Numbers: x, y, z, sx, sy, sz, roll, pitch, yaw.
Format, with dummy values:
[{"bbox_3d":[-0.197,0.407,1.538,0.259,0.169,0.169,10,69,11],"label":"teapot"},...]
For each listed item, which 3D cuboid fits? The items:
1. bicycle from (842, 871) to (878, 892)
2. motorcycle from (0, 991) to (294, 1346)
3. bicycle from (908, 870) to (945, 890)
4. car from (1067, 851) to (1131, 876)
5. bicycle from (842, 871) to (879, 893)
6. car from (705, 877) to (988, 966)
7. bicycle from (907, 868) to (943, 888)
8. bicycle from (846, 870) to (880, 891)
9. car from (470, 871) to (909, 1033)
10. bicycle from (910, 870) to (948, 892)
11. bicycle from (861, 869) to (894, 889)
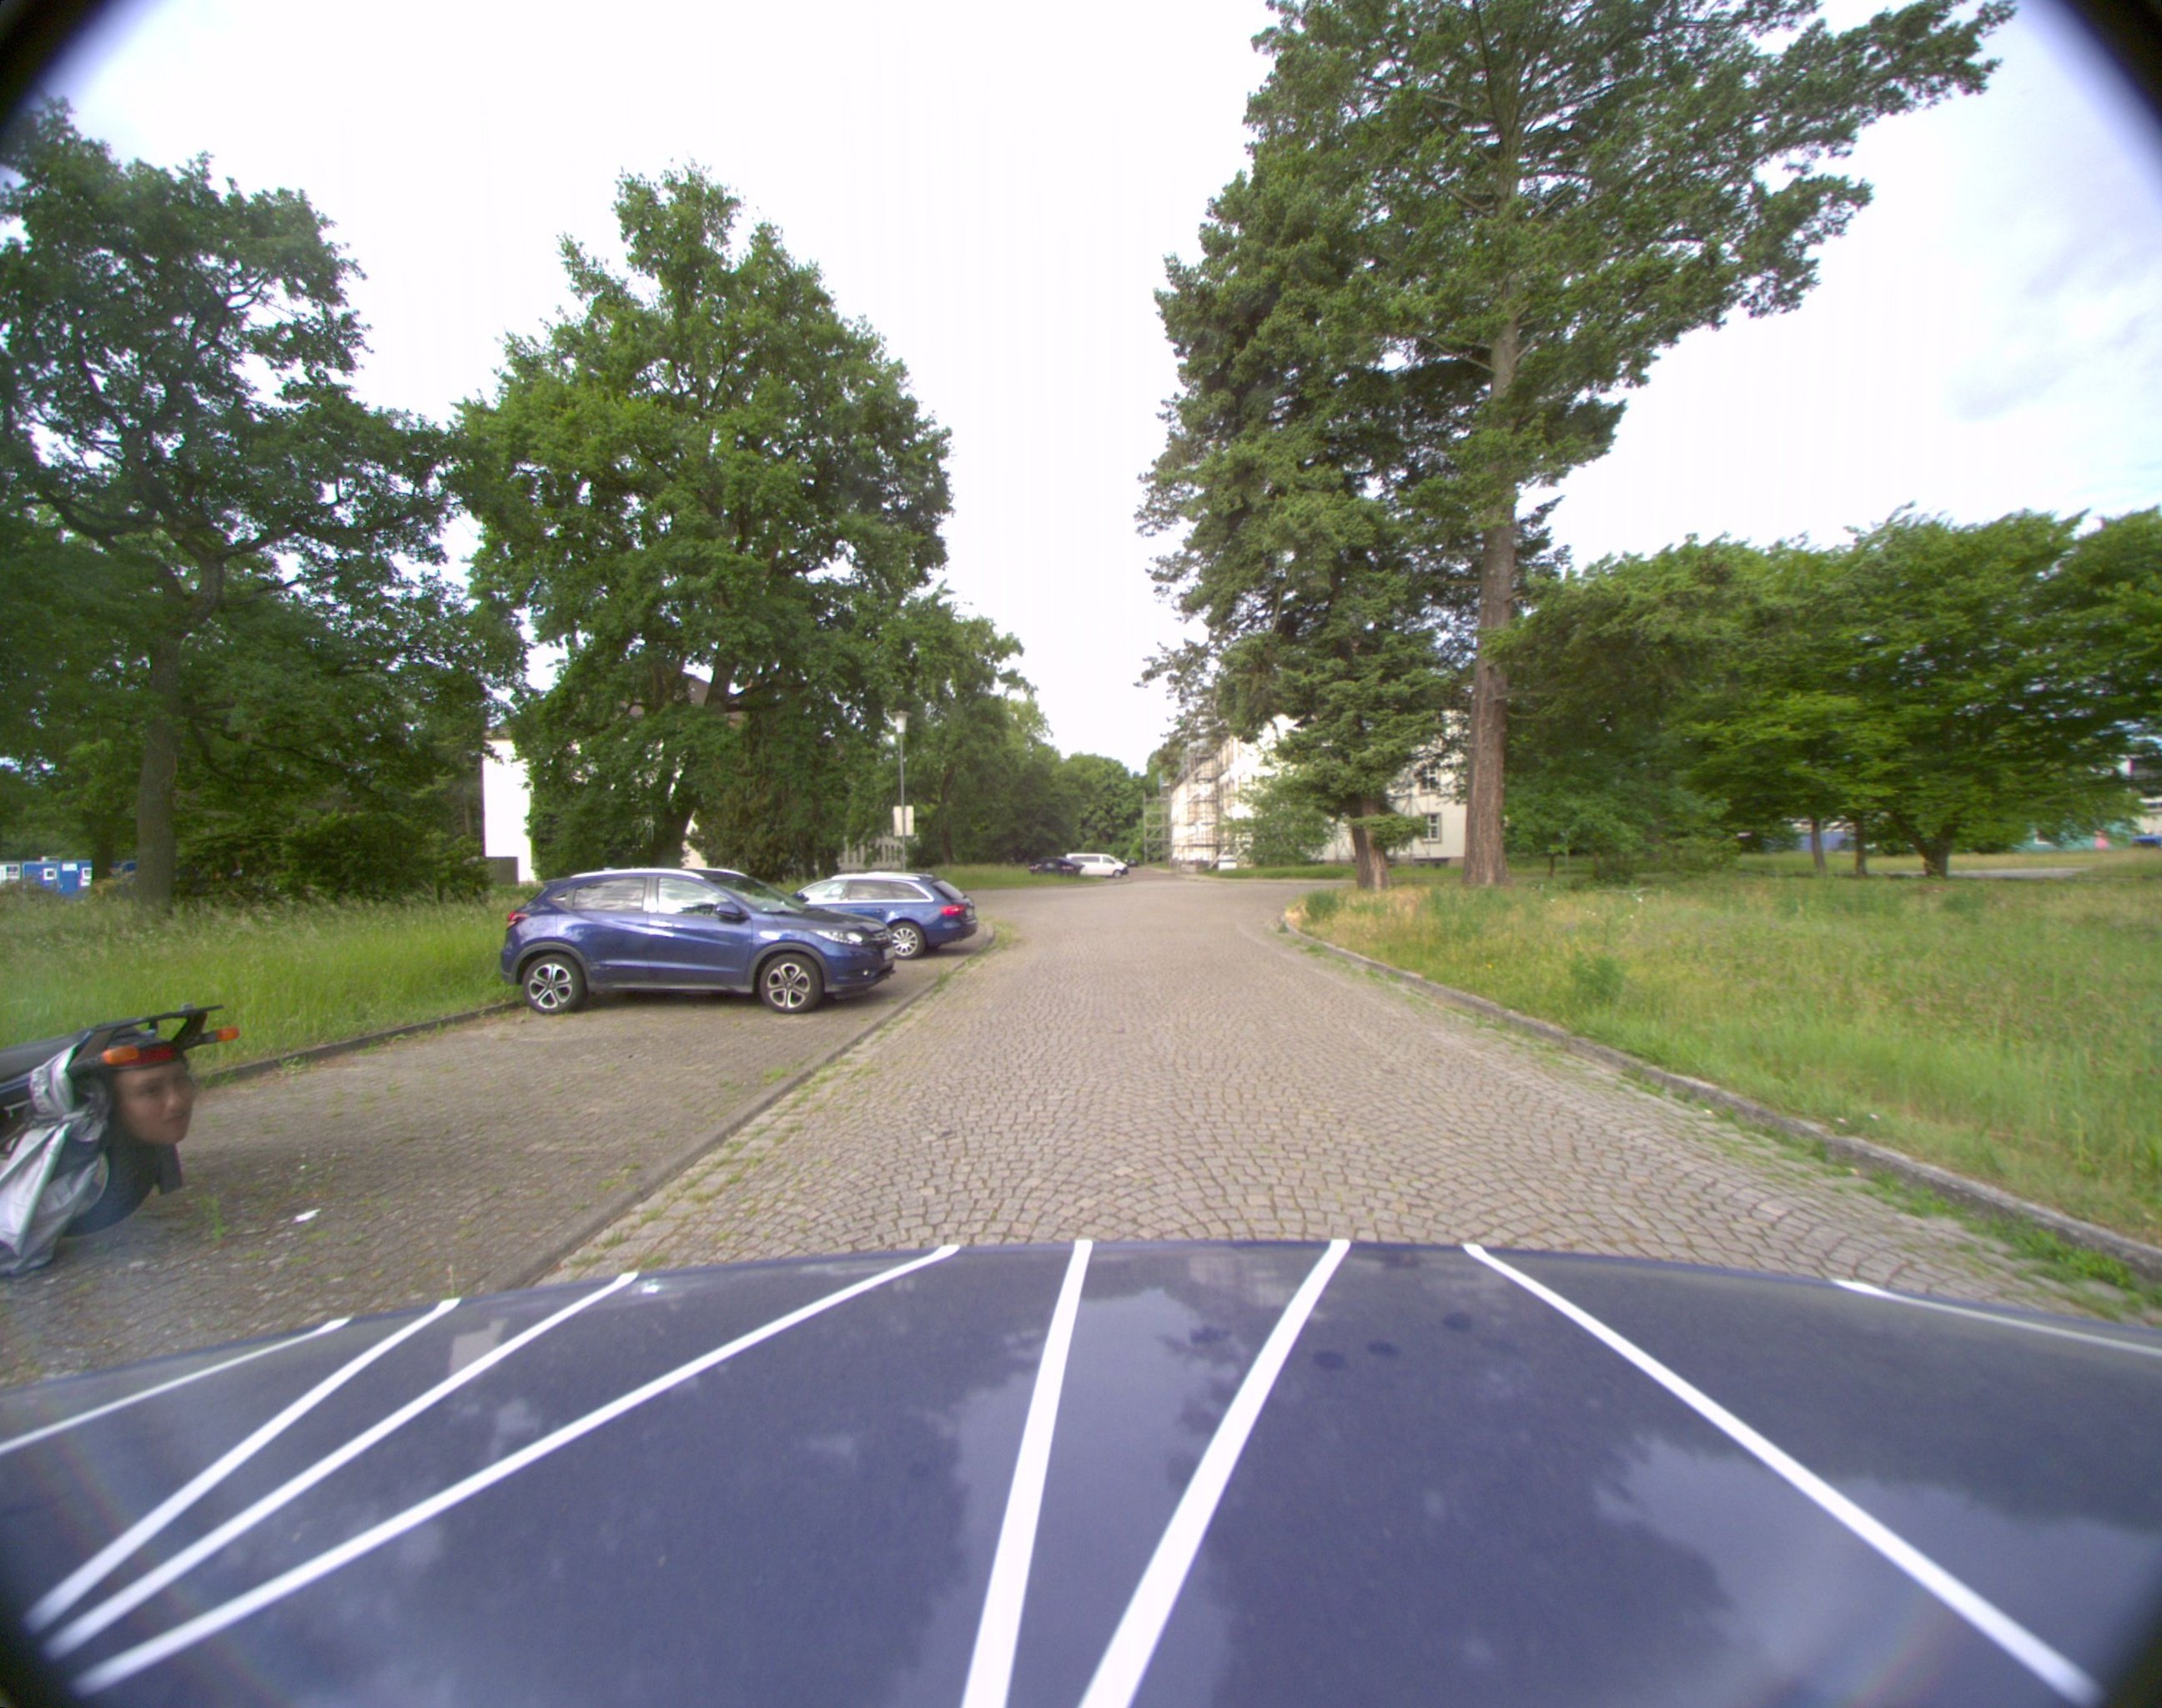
[{"bbox_3d":[-12.558,1.553,43.238,1.859,1.116,0.621,-2,1,-21],"label":"bicycle"},{"bbox_3d":[-4.938,1.259,3.213,2.333,1.179,0.795,-1,1,-1],"label":"motorcycle"},{"bbox_3d":[-8.946,1.477,43.891,1.976,1.070,0.587,-2,1,-26],"label":"bicycle"},{"bbox_3d":[1.470,0.784,62.342,5.100,2.007,2.055,-1,0,0],"label":"car"},{"bbox_3d":[-12.373,1.547,42.623,1.859,1.116,0.621,-2,1,-21],"label":"bicycle"},{"bbox_3d":[-4.064,1.163,13.611,4.479,1.413,1.785,0,0,5],"label":"car"},{"bbox_3d":[-9.468,1.445,46.010,2.032,1.070,0.621,-2,1,-21],"label":"bicycle"},{"bbox_3d":[-12.873,1.562,44.906,1.859,1.116,0.621,-2,1,-21],"label":"bicycle"},{"bbox_3d":[-4.343,1.062,8.917,4.172,1.562,1.793,-1,1,2],"label":"car"},{"bbox_3d":[-8.471,1.495,42.298,1.976,1.070,0.587,-2,1,-26],"label":"bicycle"},{"bbox_3d":[-12.611,1.534,47.120,1.859,1.116,0.621,-2,1,-21],"label":"bicycle"}]
